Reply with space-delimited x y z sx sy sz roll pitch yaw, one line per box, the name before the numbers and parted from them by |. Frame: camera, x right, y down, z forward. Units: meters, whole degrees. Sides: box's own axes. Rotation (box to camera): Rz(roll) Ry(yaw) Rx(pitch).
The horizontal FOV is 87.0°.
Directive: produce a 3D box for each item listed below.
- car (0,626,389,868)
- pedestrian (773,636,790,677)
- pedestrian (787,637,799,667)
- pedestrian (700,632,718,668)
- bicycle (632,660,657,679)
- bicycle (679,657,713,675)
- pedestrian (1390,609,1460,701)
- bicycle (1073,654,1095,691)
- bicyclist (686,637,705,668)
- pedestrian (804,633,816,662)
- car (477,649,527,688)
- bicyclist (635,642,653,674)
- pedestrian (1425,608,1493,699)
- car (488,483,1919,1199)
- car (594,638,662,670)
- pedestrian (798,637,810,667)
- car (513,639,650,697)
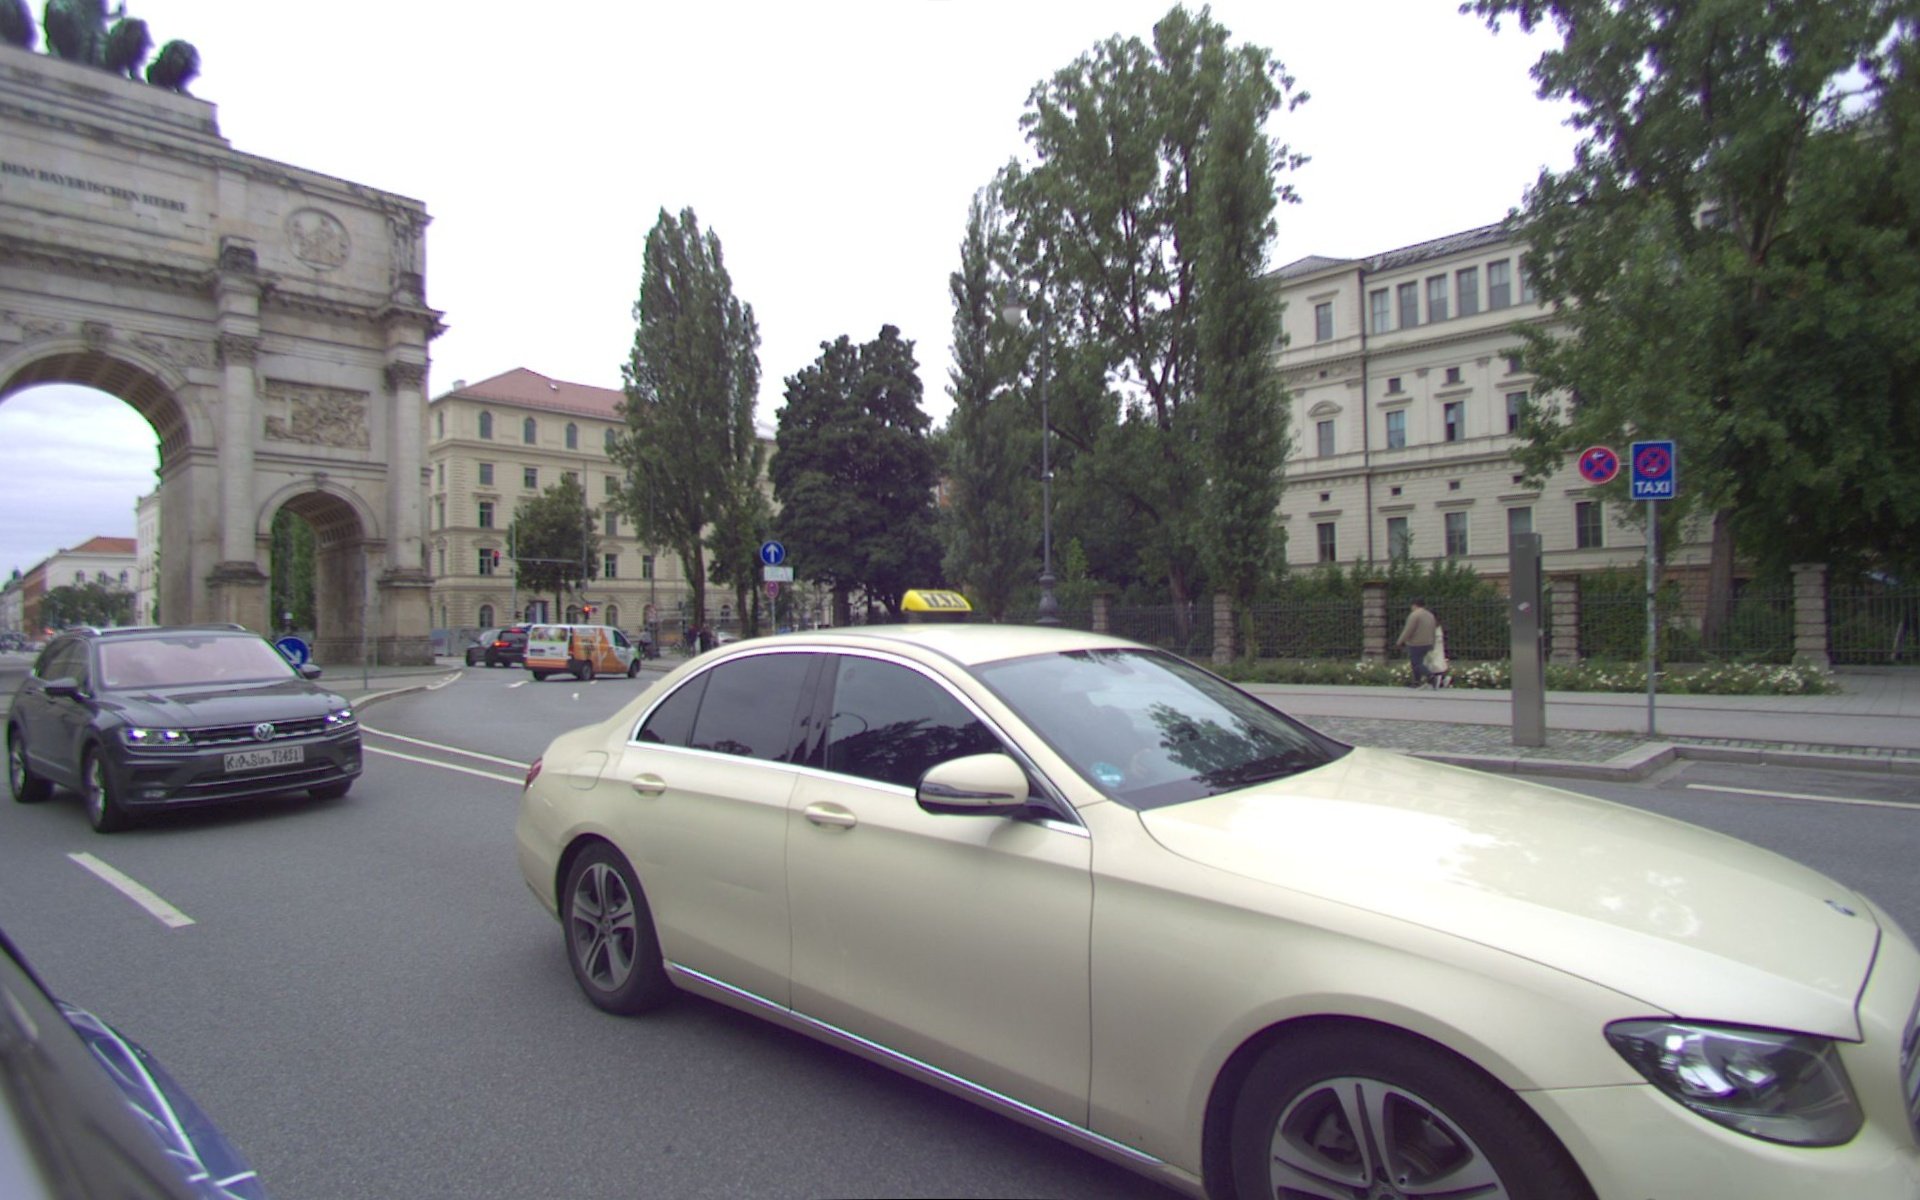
car | -7.248 1.136 9.262 4.404 1.636 1.930 -3 -1 37
pedestrian | -8.025 2.528 45.523 0.742 1.799 0.917 -1 -3 -9
pedestrian | -11.531 3.615 70.034 0.593 2.029 0.527 -3 -3 33
pedestrian | -14.259 2.847 57.435 0.747 2.029 0.792 -2 -2 9
bicycle | -17.166 3.757 55.082 0.634 0.981 1.764 1 -3 -41
bicycle | -14.749 3.675 56.584 1.737 0.981 0.643 -1 -2 1
pedestrian | 8.849 1.044 19.253 0.966 1.691 0.836 -3 -3 40
bicycle | 3.846 2.232 31.470 0.628 1.072 1.736 -1 -2 6
bicyclist | -14.799 2.950 56.605 0.848 1.723 0.643 -1 -2 1
pedestrian | -10.463 3.312 70.491 0.593 2.029 0.527 -3 -3 33
car | -21.523 3.183 47.521 1.756 1.684 4.012 0 -3 -30
bicyclist | -17.217 3.171 55.163 0.634 1.723 0.861 1 -3 -42
pedestrian | 9.667 1.031 19.602 0.966 1.691 0.836 -3 -3 40
car | 0.418 0.691 3.356 4.688 1.587 1.894 -3 -1 42
car | -22.526 3.651 68.772 2.000 2.029 3.943 -3 -3 43
pedestrian | -10.798 3.594 70.030 0.593 2.029 0.527 -3 -3 33
car | -13.055 2.307 35.299 1.986 1.869 4.967 0 -3 14
